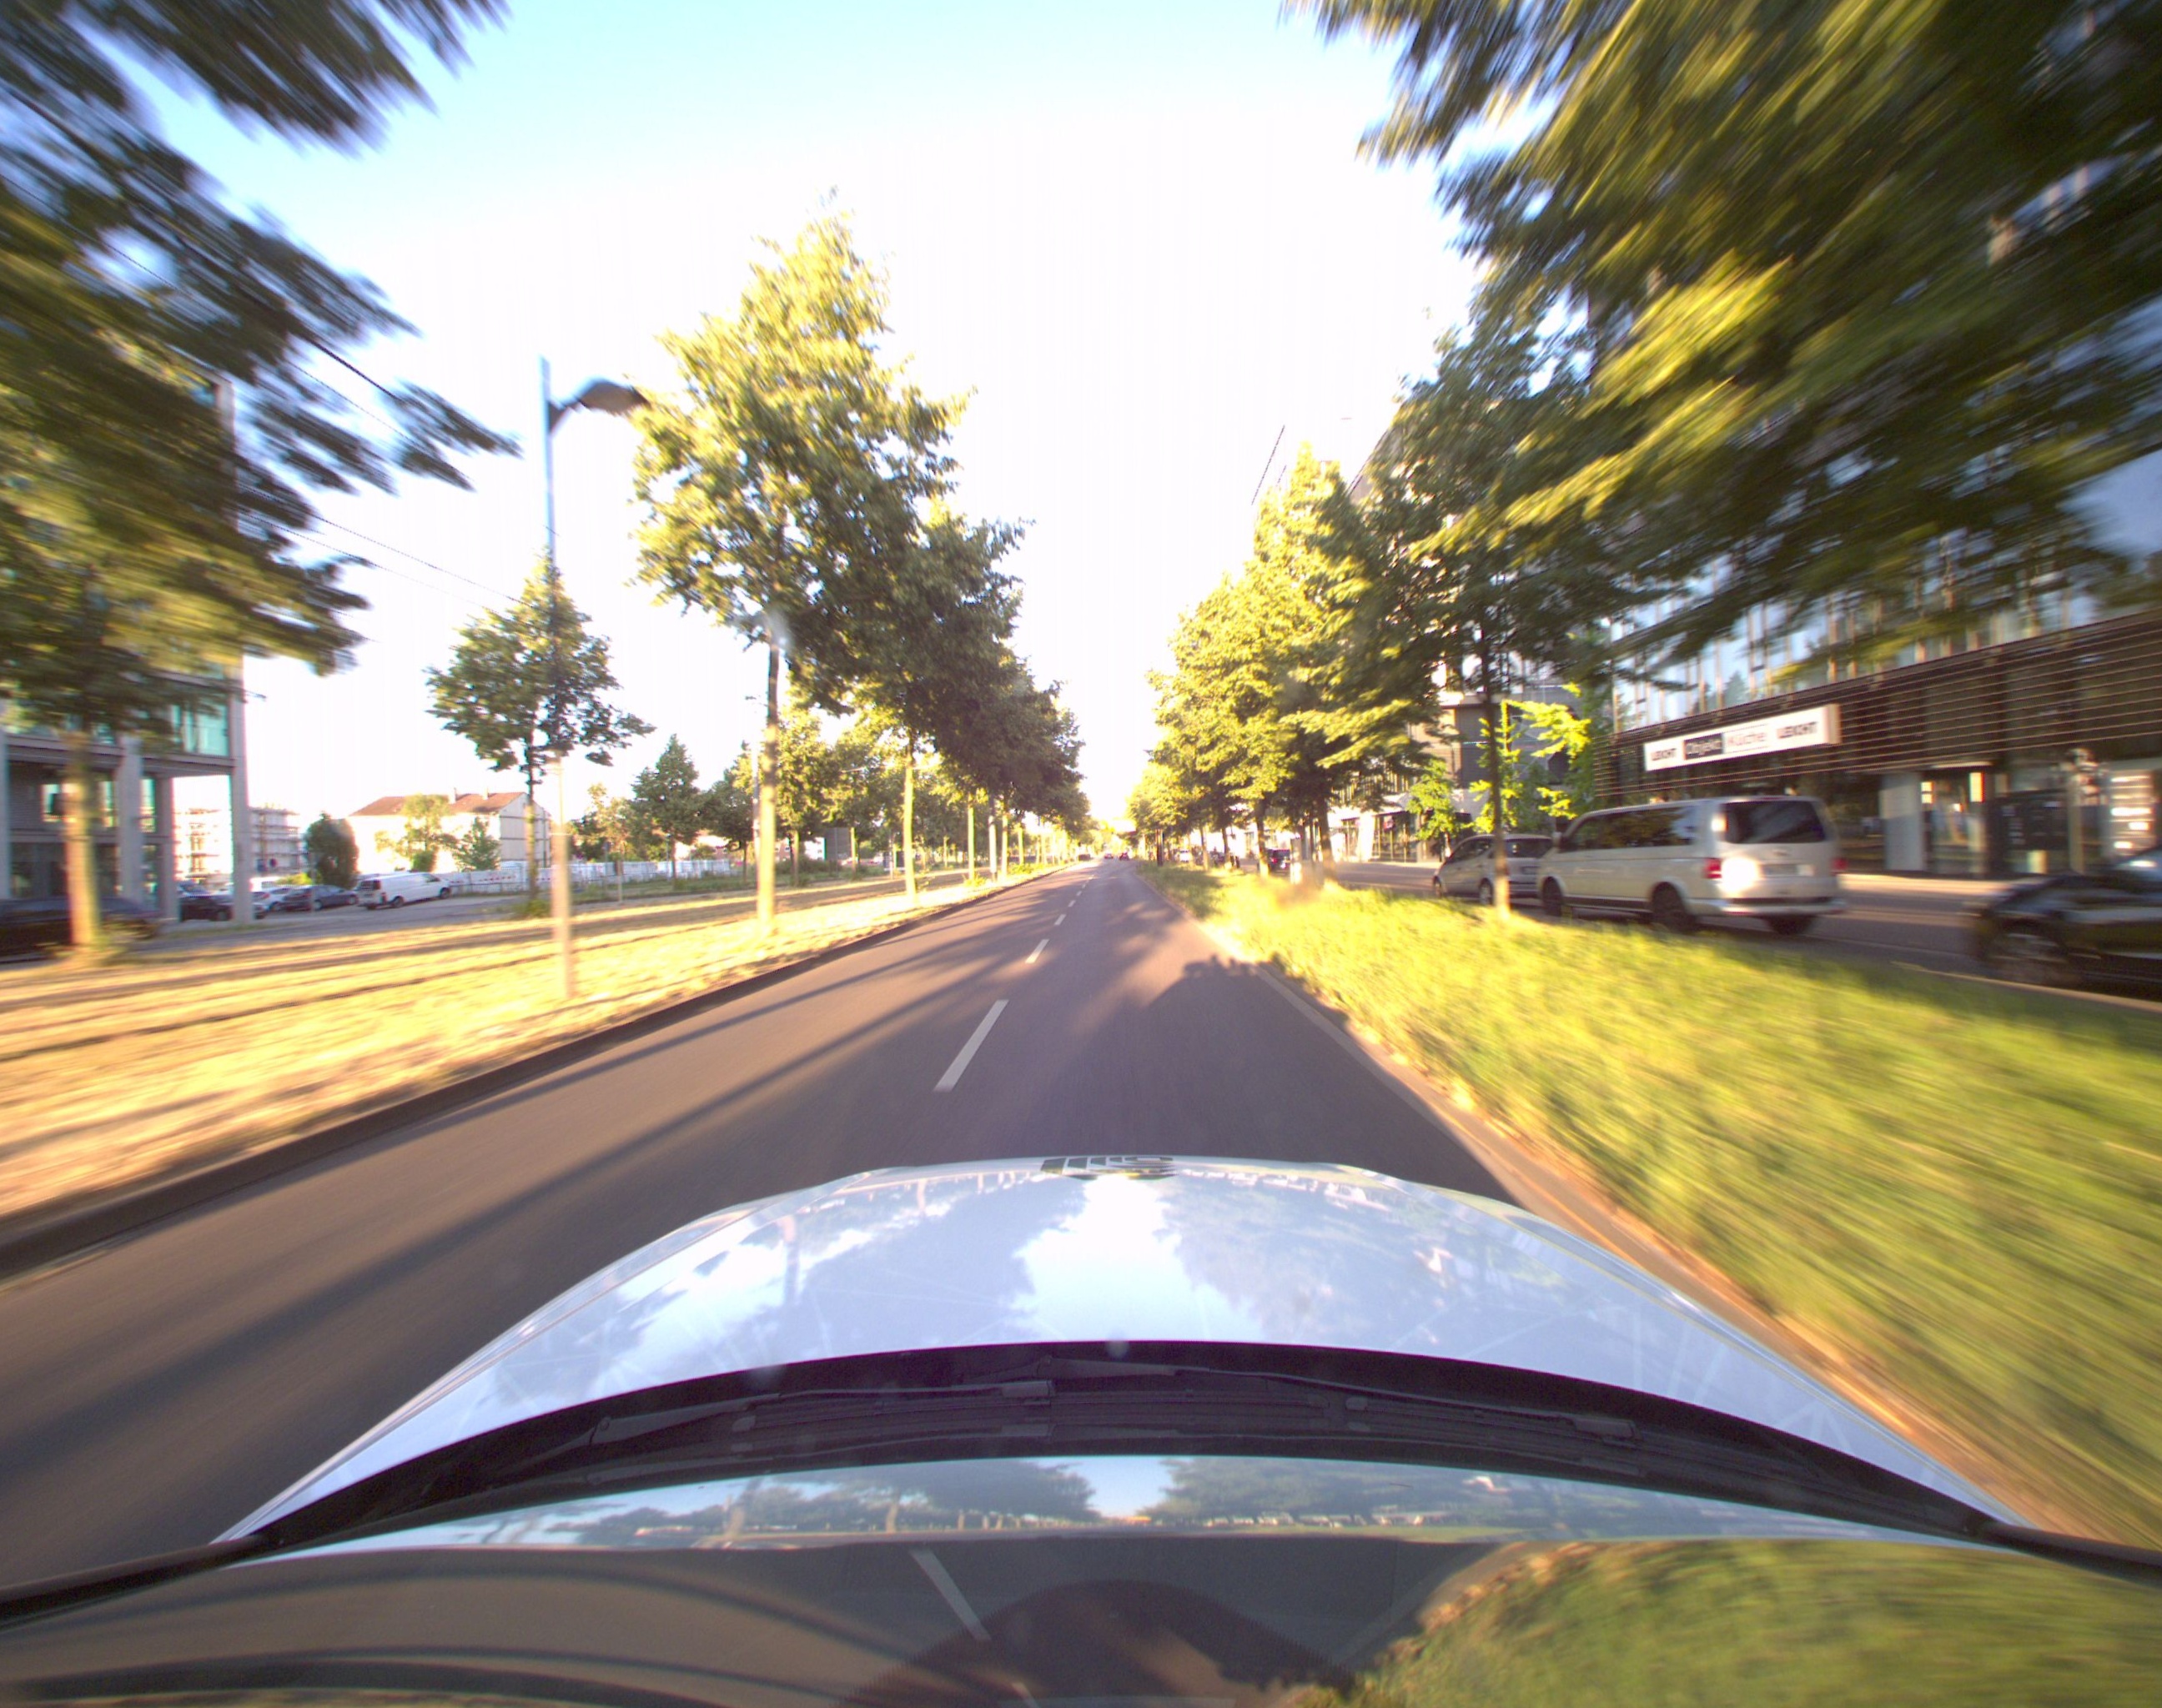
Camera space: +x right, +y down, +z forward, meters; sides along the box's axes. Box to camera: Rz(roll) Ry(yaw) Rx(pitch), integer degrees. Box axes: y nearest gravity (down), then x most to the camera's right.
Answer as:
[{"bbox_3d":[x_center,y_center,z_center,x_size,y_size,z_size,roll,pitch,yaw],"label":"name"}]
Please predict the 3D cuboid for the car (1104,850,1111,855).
[{"bbox_3d":[8.030,-0.450,244.340,1.905,1.486,4.001,-2,0,1],"label":"car"}]

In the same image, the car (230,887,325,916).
[{"bbox_3d":[-51.473,3.025,52.270,1.986,1.510,4.002,-2,0,2],"label":"car"}]

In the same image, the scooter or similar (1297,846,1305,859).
[{"bbox_3d":[21.408,-0.158,79.259,0.470,1.211,1.229,-2,0,3],"label":"scooter or similar"}]

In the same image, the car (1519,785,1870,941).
[{"bbox_3d":[9.306,0.110,13.057,1.979,1.989,4.933,-1,0,1],"label":"car"}]

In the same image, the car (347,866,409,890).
[{"bbox_3d":[-64.311,2.132,74.565,1.791,1.982,4.312,-2,0,1],"label":"car"}]

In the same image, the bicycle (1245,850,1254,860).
[{"bbox_3d":[18.798,0.140,90.848,0.592,1.039,1.894,-2,0,3],"label":"bicycle"}]

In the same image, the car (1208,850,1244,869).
[{"bbox_3d":[11.163,0.391,63.075,1.846,1.367,4.833,-2,0,0],"label":"car"}]

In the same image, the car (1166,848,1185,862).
[{"bbox_3d":[12.740,0.140,110.392,1.987,1.852,4.664,-2,0,0],"label":"car"}]

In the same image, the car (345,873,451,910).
[{"bbox_3d":[-42.860,2.287,51.287,2.198,2.013,5.086,-2,0,2],"label":"car"}]

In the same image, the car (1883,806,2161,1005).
[{"bbox_3d":[9.055,0.380,6.170,1.852,1.496,4.292,-1,0,2],"label":"car"}]

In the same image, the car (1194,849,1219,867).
[{"bbox_3d":[11.182,0.366,72.802,1.703,1.515,3.759,0,0,1],"label":"car"}]

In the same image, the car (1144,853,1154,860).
[{"bbox_3d":[14.934,0.511,178.246,1.751,1.466,4.157,-2,0,0],"label":"car"}]

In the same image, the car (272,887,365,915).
[{"bbox_3d":[-48.373,2.957,51.796,1.986,1.418,4.002,-2,0,2],"label":"car"}]

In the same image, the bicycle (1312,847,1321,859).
[{"bbox_3d":[21.181,-0.064,73.274,0.449,1.027,1.402,-2,0,28],"label":"bicycle"}]

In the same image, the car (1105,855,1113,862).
[{"bbox_3d":[6.548,1.006,190.651,1.905,1.486,4.001,-2,0,1],"label":"car"}]

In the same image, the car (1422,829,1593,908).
[{"bbox_3d":[9.540,0.290,18.621,1.832,1.570,4.062,-1,0,1],"label":"car"}]

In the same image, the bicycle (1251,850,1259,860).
[{"bbox_3d":[19.352,0.136,90.563,0.468,1.039,1.808,-2,0,3],"label":"bicycle"}]

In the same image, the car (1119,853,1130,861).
[{"bbox_3d":[8.181,0.551,154.626,1.905,1.486,4.001,-2,0,1],"label":"car"}]

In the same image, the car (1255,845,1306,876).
[{"bbox_3d":[10.325,0.311,42.417,1.774,1.494,4.002,1,0,2],"label":"car"}]

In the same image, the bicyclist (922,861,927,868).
[{"bbox_3d":[-30.763,2.040,160.171,0.617,1.421,0.937,-2,0,0],"label":"bicyclist"}]

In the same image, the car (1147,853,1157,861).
[{"bbox_3d":[14.184,0.550,162.894,1.772,1.472,4.287,-2,0,0],"label":"car"}]

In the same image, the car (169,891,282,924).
[{"bbox_3d":[-44.004,2.747,41.938,3.968,1.445,1.897,-2,0,4],"label":"car"}]

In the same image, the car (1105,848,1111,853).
[{"bbox_3d":[8.495,-1.192,258.509,1.905,1.486,4.001,-2,0,1],"label":"car"}]

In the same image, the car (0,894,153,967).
[{"bbox_3d":[-24.417,1.773,18.309,1.923,1.422,4.392,-2,0,3],"label":"car"}]

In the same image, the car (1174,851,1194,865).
[{"bbox_3d":[12.306,0.469,97.585,1.985,1.642,4.881,-2,0,3],"label":"car"}]
